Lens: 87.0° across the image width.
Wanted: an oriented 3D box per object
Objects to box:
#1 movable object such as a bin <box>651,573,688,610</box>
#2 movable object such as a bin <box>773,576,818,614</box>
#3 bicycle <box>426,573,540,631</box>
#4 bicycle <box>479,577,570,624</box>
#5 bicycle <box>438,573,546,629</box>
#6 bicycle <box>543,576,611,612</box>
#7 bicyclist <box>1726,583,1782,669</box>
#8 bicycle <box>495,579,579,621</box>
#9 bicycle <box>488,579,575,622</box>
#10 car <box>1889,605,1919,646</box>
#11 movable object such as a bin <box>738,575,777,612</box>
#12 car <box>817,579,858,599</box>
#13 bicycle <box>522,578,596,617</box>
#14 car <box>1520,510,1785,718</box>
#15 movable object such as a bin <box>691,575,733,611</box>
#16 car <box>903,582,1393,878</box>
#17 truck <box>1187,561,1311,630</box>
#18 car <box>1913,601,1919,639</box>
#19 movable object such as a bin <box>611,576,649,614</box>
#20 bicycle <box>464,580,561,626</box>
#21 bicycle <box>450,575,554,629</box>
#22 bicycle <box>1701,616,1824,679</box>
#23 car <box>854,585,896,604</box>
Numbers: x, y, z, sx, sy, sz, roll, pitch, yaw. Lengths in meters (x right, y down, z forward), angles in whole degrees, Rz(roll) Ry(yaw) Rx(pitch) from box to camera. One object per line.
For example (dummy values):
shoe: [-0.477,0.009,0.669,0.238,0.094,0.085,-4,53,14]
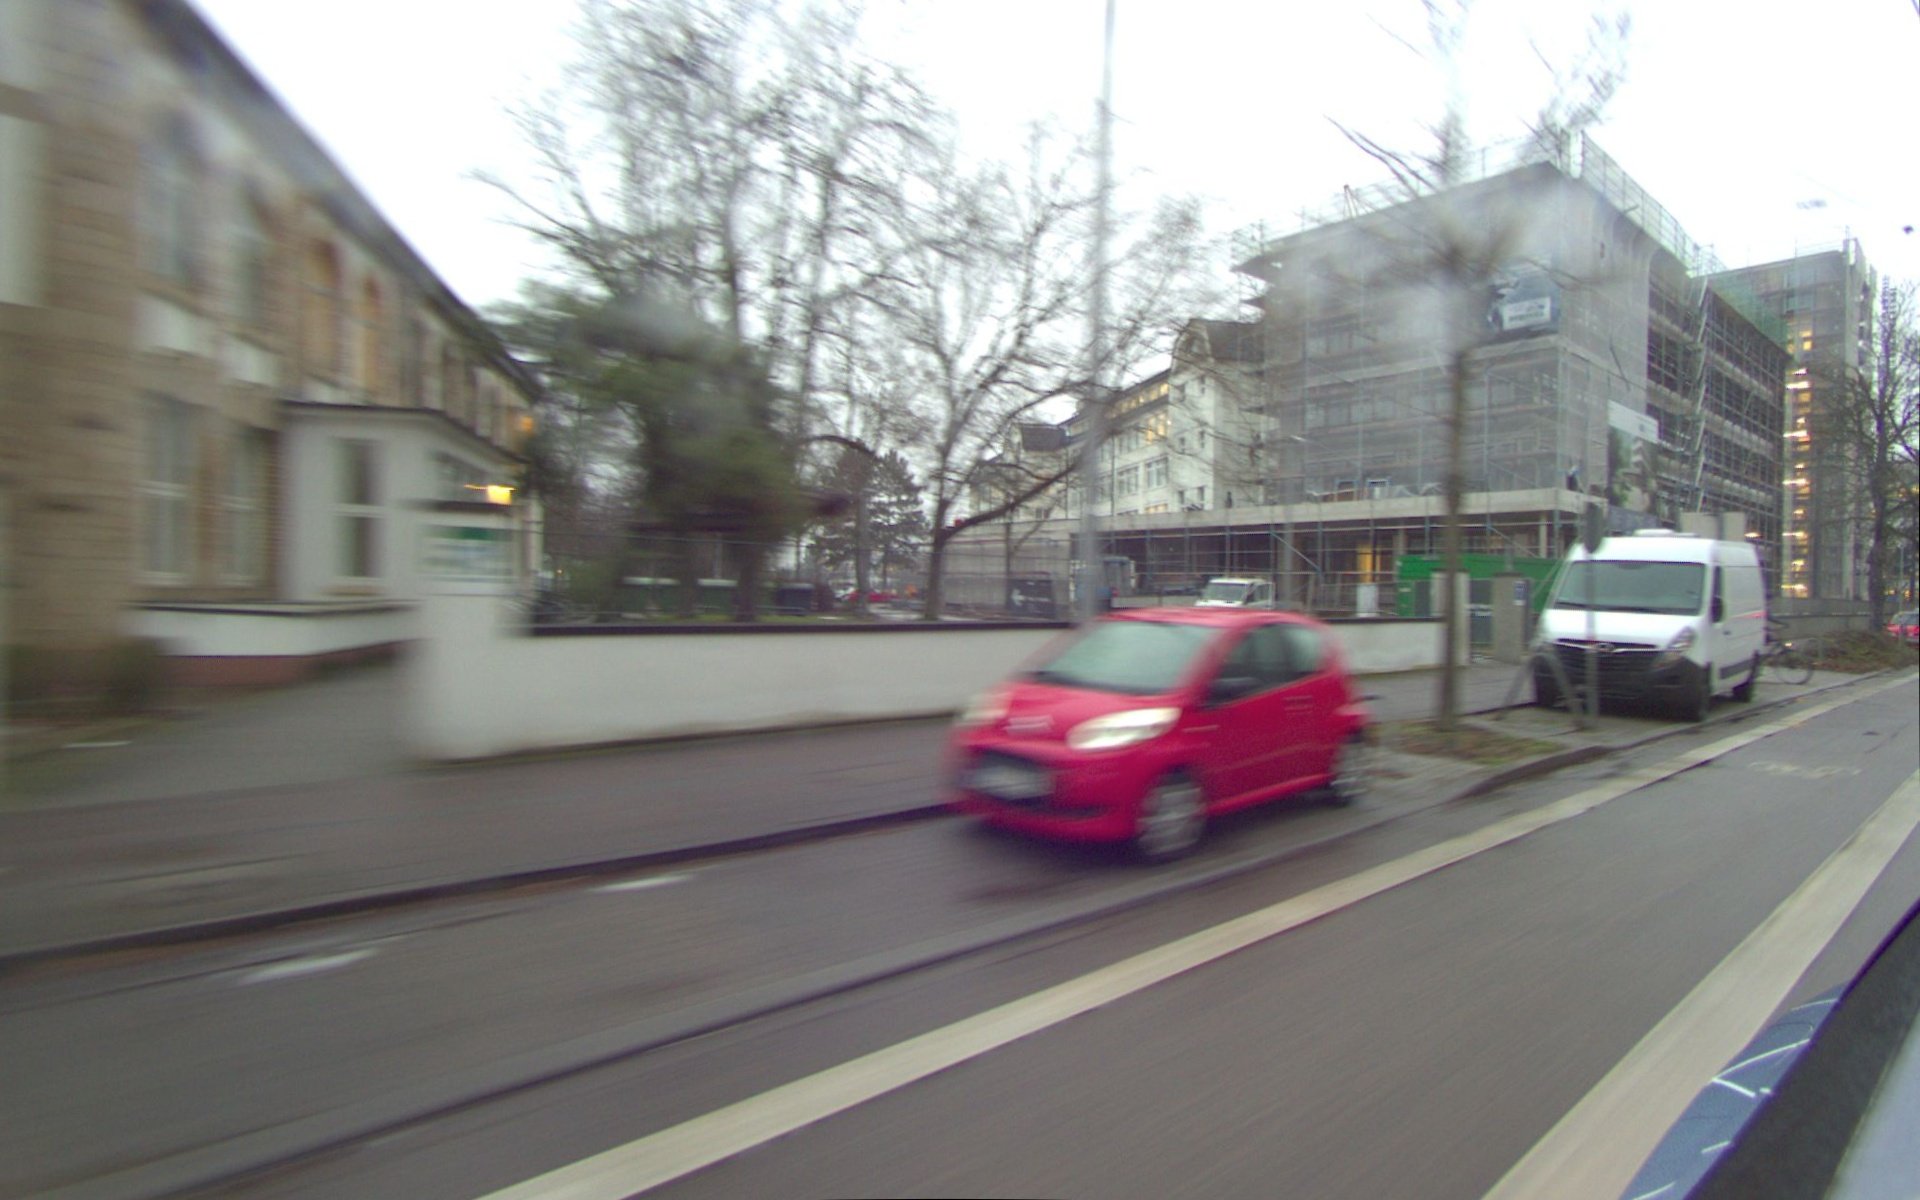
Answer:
movable object such as a bin: [-10.552,-0.313,36.700,1.225,1.296,0.990,2,0,-17]
movable object such as a bin: [-6.166,-0.200,37.909,1.297,1.333,1.064,3,0,-30]
bicycle: [-10.214,0.048,21.725,2.097,1.171,0.574,2,0,-10]
bicycle: [-11.442,0.010,26.620,2.097,1.171,0.574,2,0,-10]
bicycle: [-10.412,0.031,22.570,2.097,1.171,0.574,2,0,-10]
bicycle: [-13.302,-0.217,35.190,2.097,1.171,0.574,2,0,-10]
bicyclist: [16.402,0.529,20.900,0.695,1.710,0.770,2,0,-42]
bicycle: [-11.977,-0.012,28.714,2.097,1.124,0.574,2,0,-10]
bicycle: [-11.759,0.018,27.825,2.097,1.106,0.574,2,0,-10]
car: [34.995,0.920,36.462,3.669,1.404,1.753,1,1,-40]
movable object such as a bin: [-7.499,-0.243,37.494,1.280,1.330,0.990,2,0,-17]
car: [-12.283,-1.107,101.041,3.917,1.818,1.805,2,0,-10]
bicycle: [-12.806,-0.081,32.379,2.097,1.171,0.574,2,0,-10]
car: [10.320,0.175,14.869,5.347,2.518,2.126,1,1,-44]
movable object such as a bin: [-9.086,-0.265,37.074,1.408,1.240,0.990,2,0,-17]
car: [1.470,0.691,7.101,3.512,1.543,1.644,1,0,-44]
truck: [12.088,-0.246,41.973,2.124,2.620,6.975,2,2,41]
car: [41.592,0.879,42.534,3.669,1.604,1.753,1,1,-40]
movable object such as a bin: [-11.758,-0.184,36.125,1.237,1.330,0.990,2,0,-17]
bicycle: [-11.192,0.076,25.366,2.097,1.029,0.574,4,0,-10]
bicycle: [-10.602,0.046,23.483,2.097,1.171,0.574,2,0,-10]
bicycle: [16.469,0.947,20.809,0.718,1.147,1.890,1,1,-43]
car: [-7.268,-0.495,86.230,3.239,1.542,1.708,2,0,-15]
